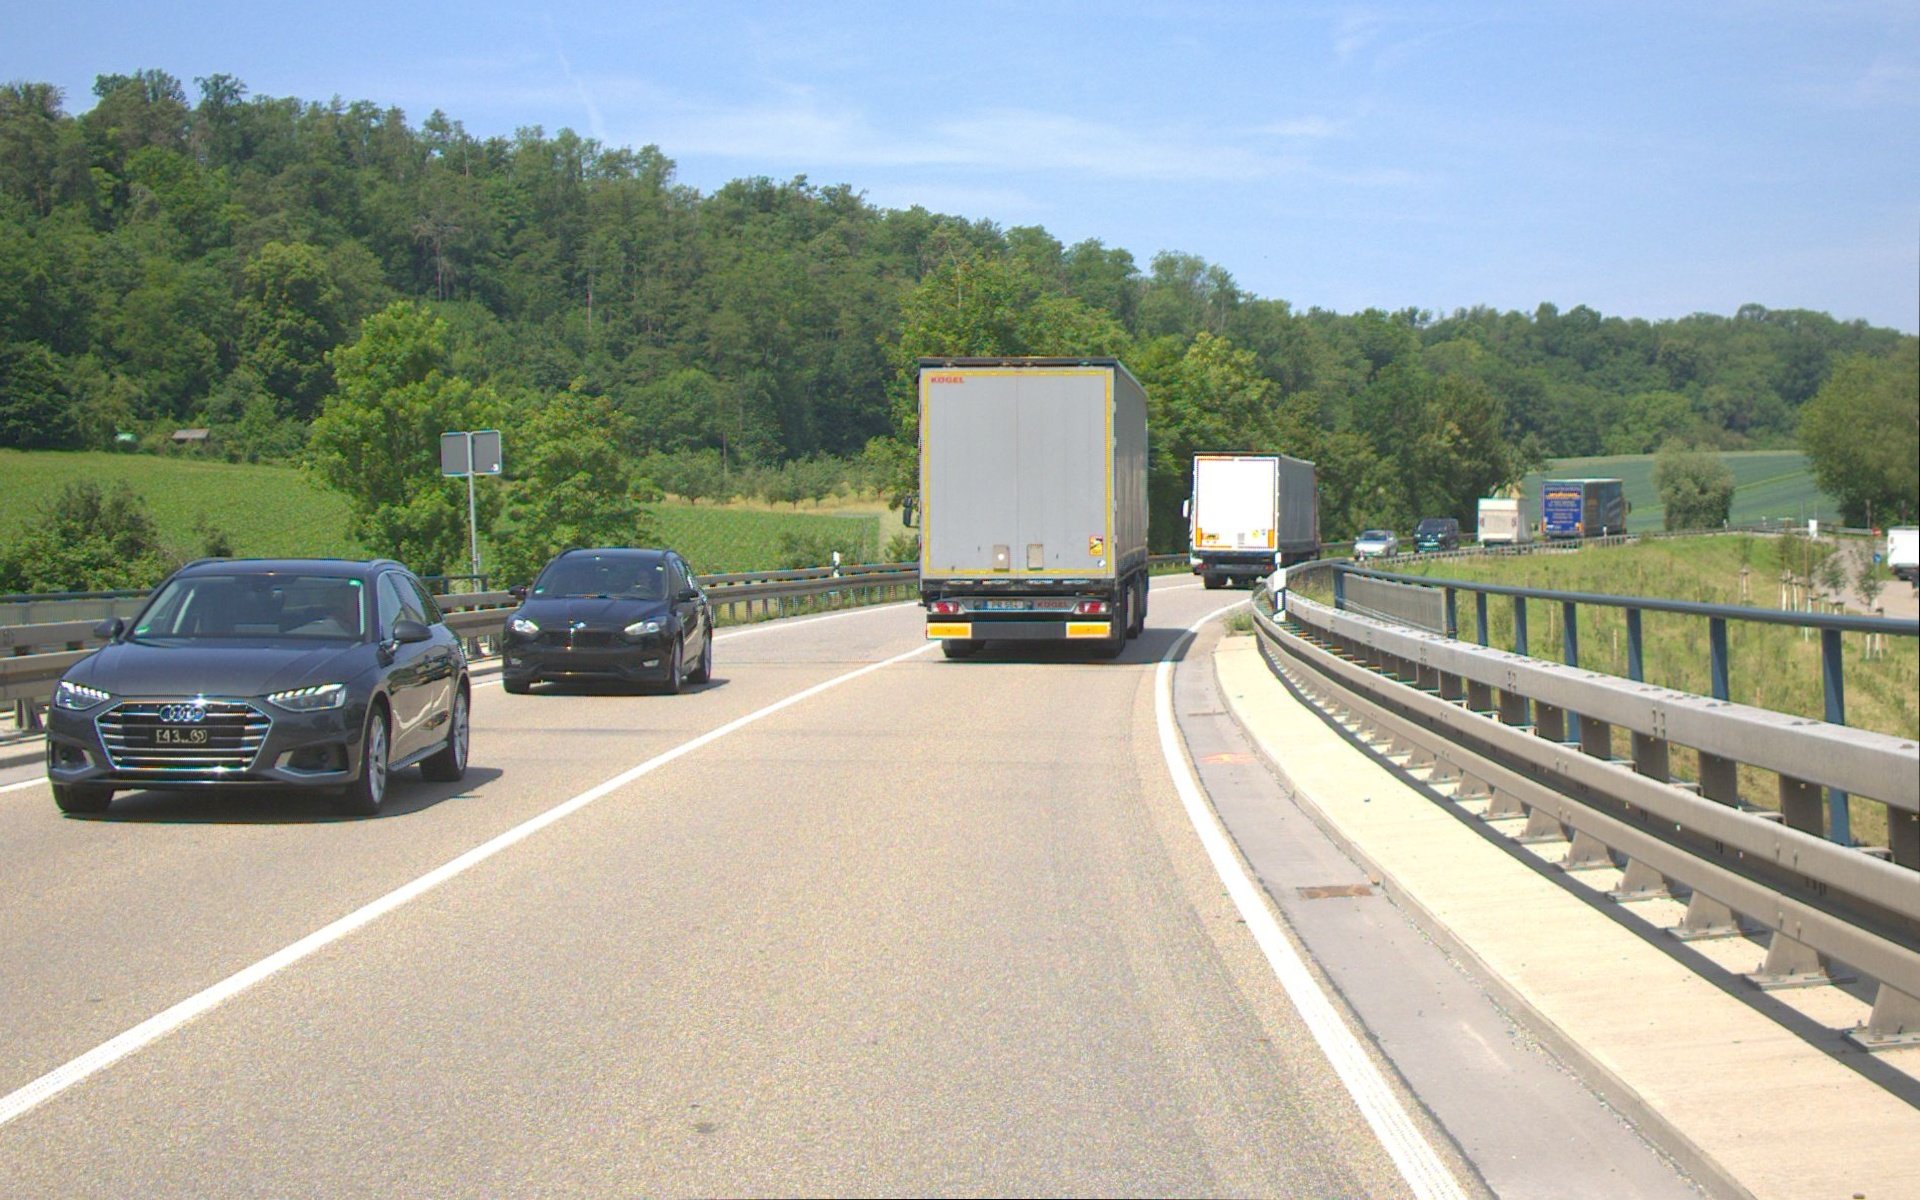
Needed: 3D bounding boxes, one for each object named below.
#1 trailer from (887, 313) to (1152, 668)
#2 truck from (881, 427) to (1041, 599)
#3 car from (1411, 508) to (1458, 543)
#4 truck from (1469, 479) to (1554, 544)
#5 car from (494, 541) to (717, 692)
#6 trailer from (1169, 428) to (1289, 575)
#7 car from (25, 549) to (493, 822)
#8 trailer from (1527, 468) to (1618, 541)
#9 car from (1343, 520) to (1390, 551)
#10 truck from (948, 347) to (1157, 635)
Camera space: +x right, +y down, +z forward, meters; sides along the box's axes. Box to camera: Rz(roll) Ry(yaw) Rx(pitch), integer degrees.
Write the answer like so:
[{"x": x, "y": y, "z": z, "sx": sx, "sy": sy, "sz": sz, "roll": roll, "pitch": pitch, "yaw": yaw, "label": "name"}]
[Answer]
[{"x": 1.136, "y": -1.600, "z": 50.582, "sx": 3.119, "sy": 4.484, "sz": 13.885, "roll": 0, "pitch": 2, "yaw": 4, "label": "trailer"}, {"x": 0.132, "y": -2.061, "z": 81.187, "sx": 2.915, "sy": 3.790, "sz": 9.707, "roll": 0, "pitch": 2, "yaw": 5, "label": "truck"}, {"x": 26.015, "y": -4.091, "z": 188.368, "sx": 1.923, "sy": 1.853, "sz": 5.172, "roll": 1, "pitch": 1, "yaw": 15, "label": "car"}, {"x": 30.116, "y": -4.780, "z": 187.335, "sx": 3.225, "sy": 3.354, "sz": 11.866, "roll": 1, "pitch": 1, "yaw": 16, "label": "truck"}, {"x": -3.657, "y": 0.123, "z": 36.170, "sx": 1.721, "sy": 1.477, "sz": 4.569, "roll": 1, "pitch": 1, "yaw": 2, "label": "car"}, {"x": 8.539, "y": -2.970, "z": 107.539, "sx": 3.366, "sy": 4.302, "sz": 13.861, "roll": 0, "pitch": 1, "yaw": 6, "label": "trailer"}, {"x": -4.052, "y": 0.419, "z": 20.626, "sx": 1.721, "sy": 1.430, "sz": 4.617, "roll": 1, "pitch": 1, "yaw": 2, "label": "car"}, {"x": 37.338, "y": -5.742, "z": 209.184, "sx": 3.651, "sy": 4.248, "sz": 12.184, "roll": 1, "pitch": 1, "yaw": 18, "label": "trailer"}, {"x": 20.131, "y": -3.199, "z": 170.113, "sx": 1.769, "sy": 1.489, "sz": 4.167, "roll": 1, "pitch": 1, "yaw": 15, "label": "car"}, {"x": 1.635, "y": -1.806, "z": 57.152, "sx": 3.119, "sy": 4.479, "sz": 6.810, "roll": 0, "pitch": 2, "yaw": 4, "label": "truck"}]
